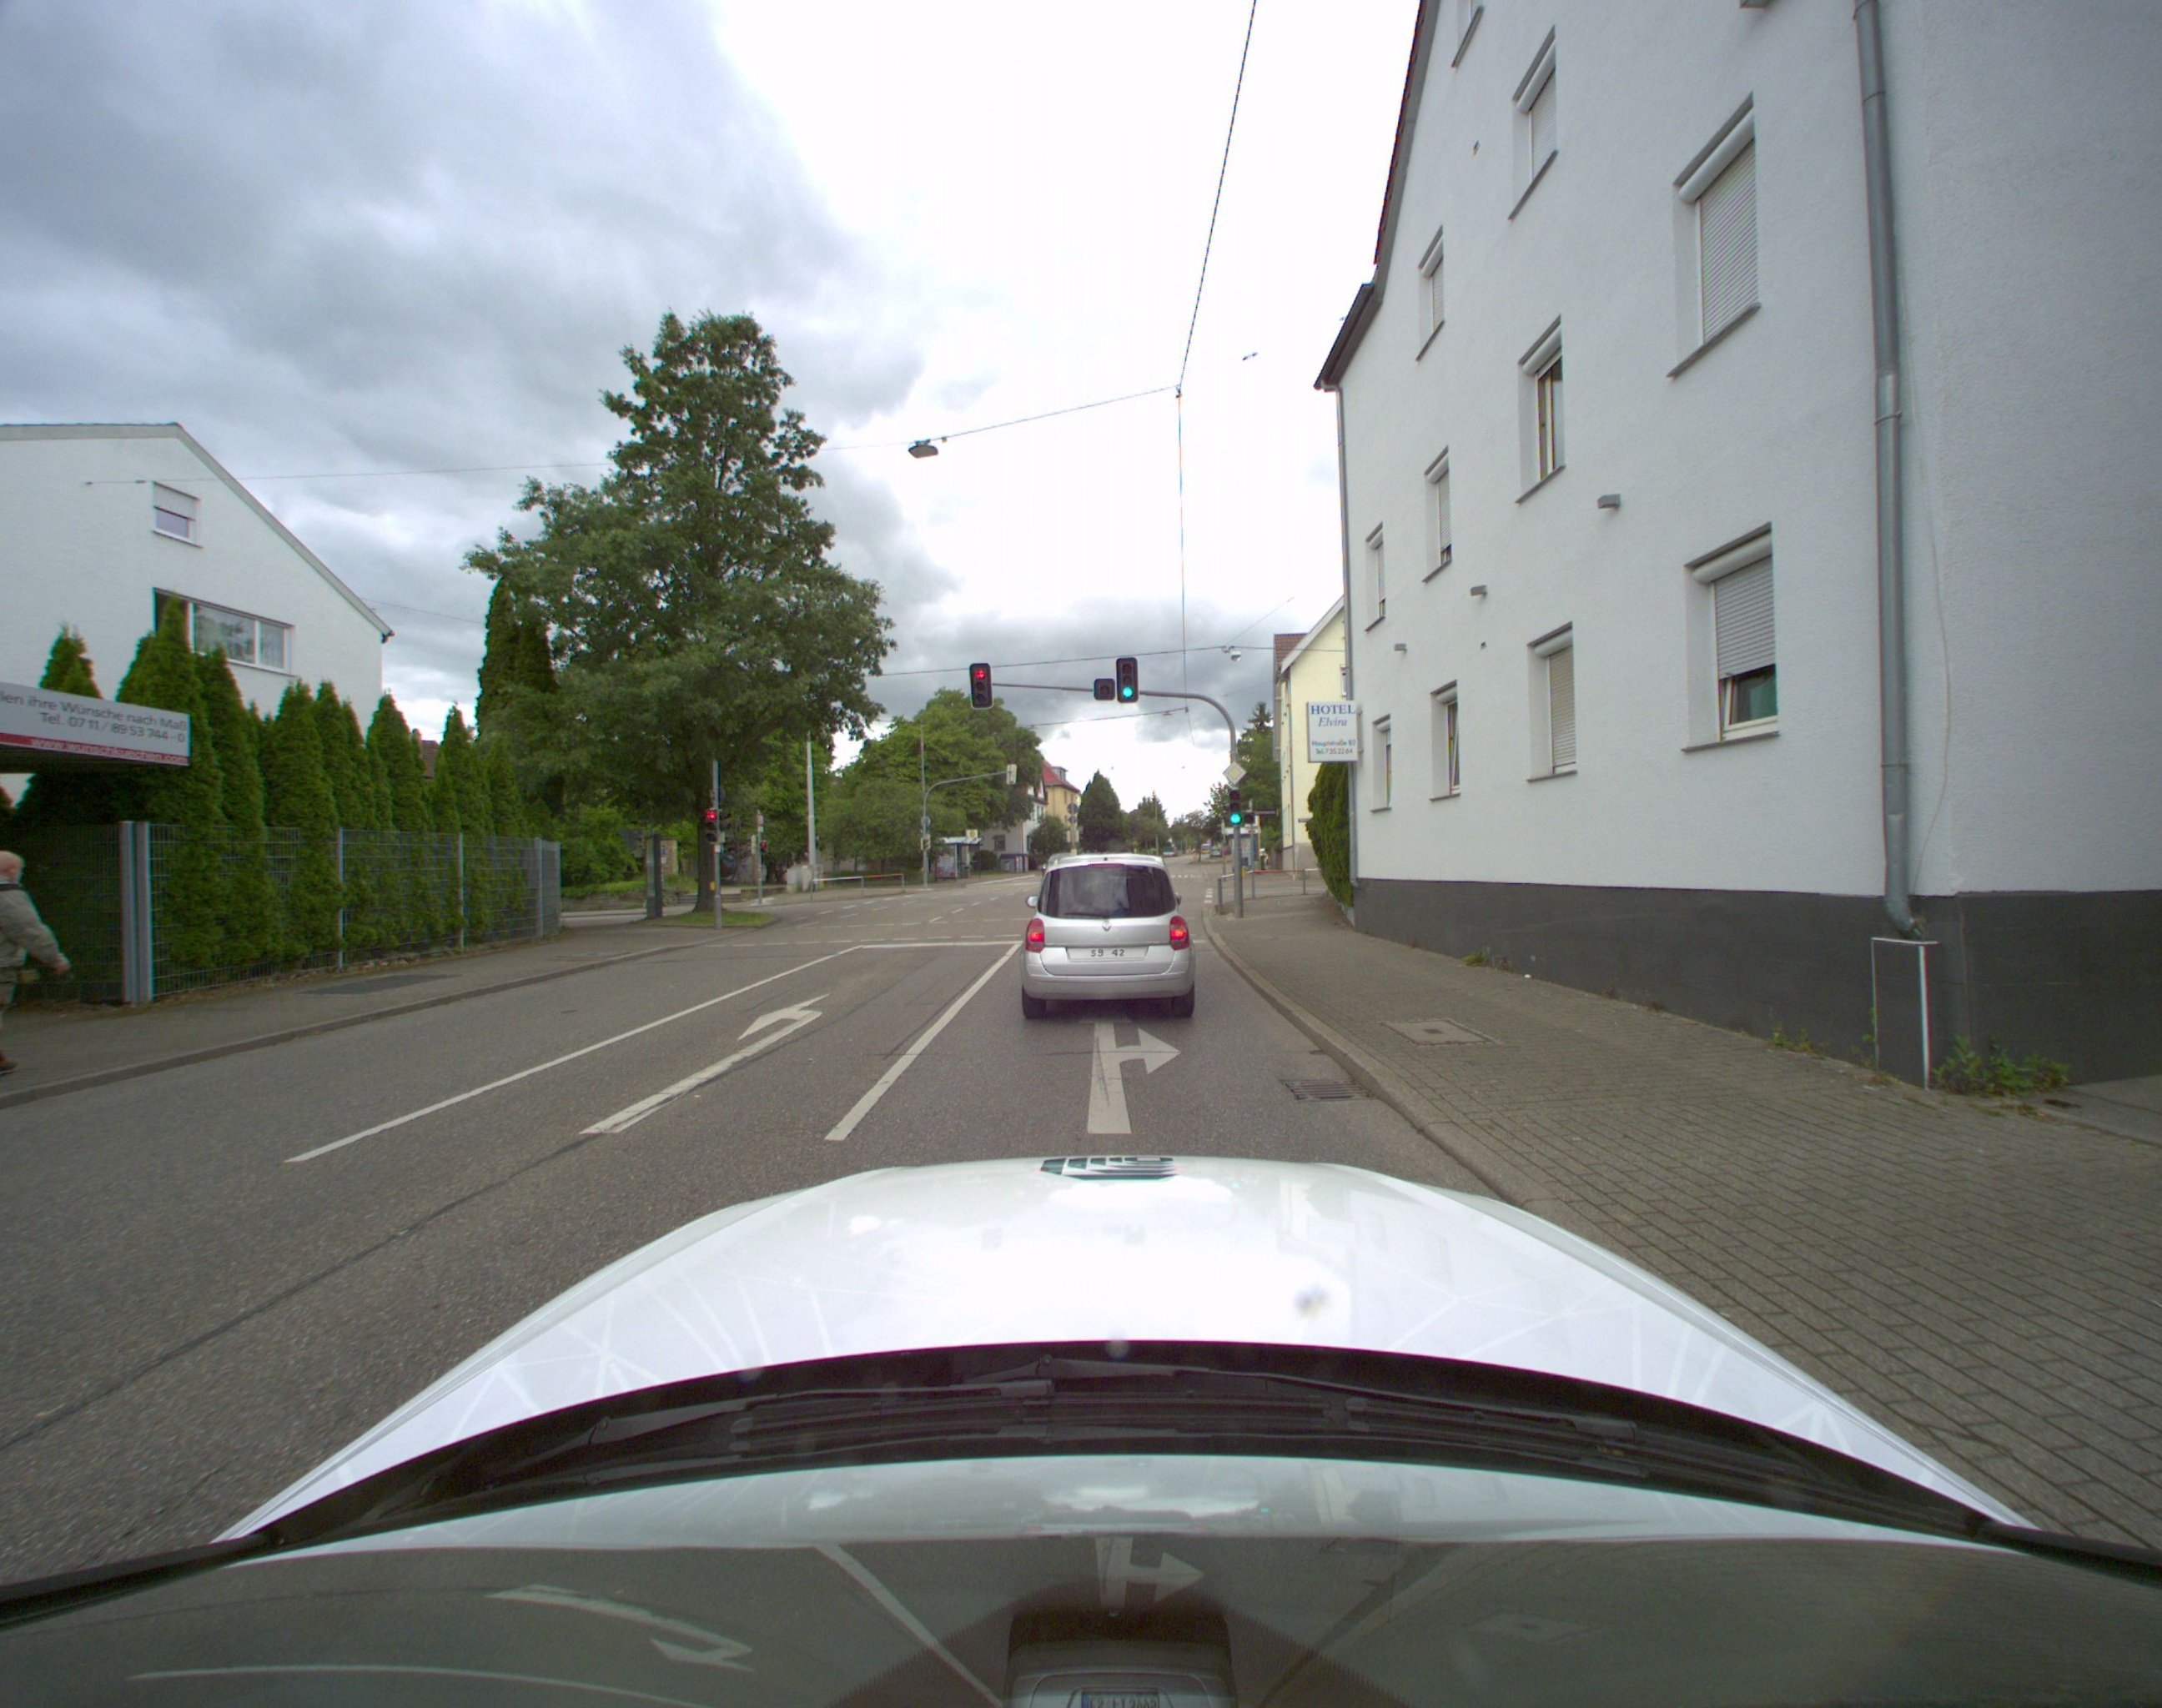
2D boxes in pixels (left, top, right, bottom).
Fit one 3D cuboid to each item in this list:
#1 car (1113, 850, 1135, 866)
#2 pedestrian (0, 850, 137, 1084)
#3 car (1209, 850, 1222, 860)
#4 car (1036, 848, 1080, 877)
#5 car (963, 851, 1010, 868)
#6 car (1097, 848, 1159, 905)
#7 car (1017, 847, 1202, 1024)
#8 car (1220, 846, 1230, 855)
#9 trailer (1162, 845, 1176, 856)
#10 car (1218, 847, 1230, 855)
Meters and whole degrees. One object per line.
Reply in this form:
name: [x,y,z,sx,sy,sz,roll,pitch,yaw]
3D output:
car: [4.069,0.357,76.855,1.554,1.420,4.142,-2,-1,10]
pedestrian: [-8.504,0.854,6.343,0.818,1.754,1.230,0,-1,2]
car: [20.178,0.156,121.812,1.639,1.382,4.013,-1,-1,12]
car: [-1.439,0.552,52.094,1.747,1.635,4.609,-4,-1,11]
car: [-8.754,0.534,75.523,3.963,1.332,1.727,-4,-1,9]
car: [1.598,0.689,26.574,1.820,1.675,3.579,-2,0,5]
car: [0.385,0.742,9.199,1.623,1.557,4.004,0,-1,4]
car: [25.641,-0.598,144.960,1.652,1.564,4.109,-2,0,9]
trailer: [17.726,-0.607,163.148,2.297,2.087,5.889,0,-1,10]
car: [24.764,-0.506,140.769,1.650,1.393,3.682,-2,0,14]
